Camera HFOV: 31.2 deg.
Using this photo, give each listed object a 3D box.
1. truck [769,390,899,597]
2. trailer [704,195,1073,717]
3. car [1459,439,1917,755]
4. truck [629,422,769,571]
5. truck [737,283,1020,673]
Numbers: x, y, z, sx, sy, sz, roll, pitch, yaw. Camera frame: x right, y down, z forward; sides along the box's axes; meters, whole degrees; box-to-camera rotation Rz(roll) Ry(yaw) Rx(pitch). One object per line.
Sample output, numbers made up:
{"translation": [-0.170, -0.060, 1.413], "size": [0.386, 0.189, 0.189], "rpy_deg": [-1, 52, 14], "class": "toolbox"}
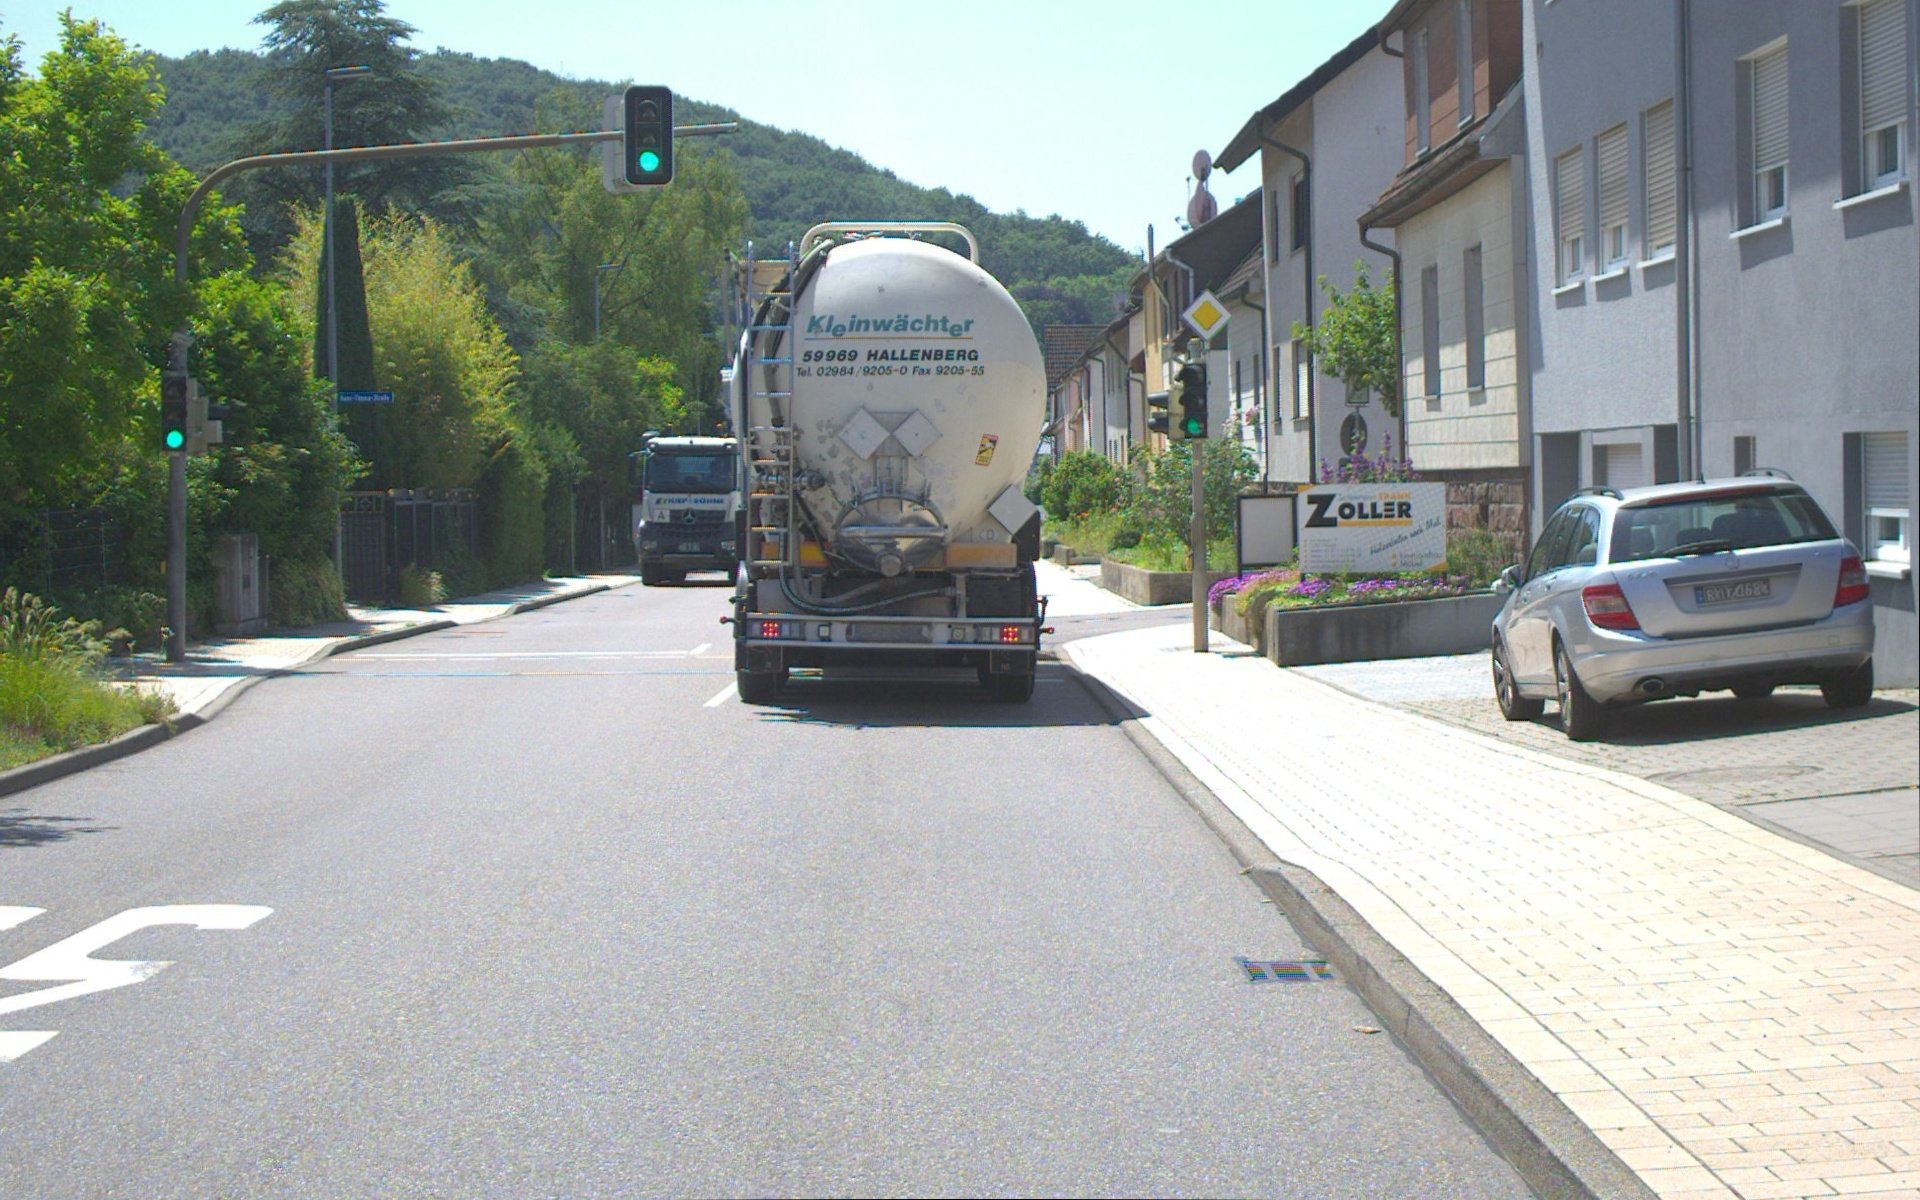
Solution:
{"translation": [-2.937, -2.502, 83.041], "size": [2.846, 4.662, 11.340], "rpy_deg": [0, 1, -1], "class": "truck"}
{"translation": [-0.718, -1.210, 31.606], "size": [2.796, 3.987, 10.325], "rpy_deg": [1, 1, -2], "class": "trailer"}
{"translation": [4.315, -0.064, 21.084], "size": [1.791, 1.536, 4.519], "rpy_deg": [-7, 1, 2], "class": "car"}
{"translation": [-6.193, -2.456, 82.756], "size": [2.728, 3.360, 8.635], "rpy_deg": [1, 1, 0], "class": "truck"}
{"translation": [-0.932, -1.306, 38.074], "size": [2.808, 3.923, 6.100], "rpy_deg": [1, 1, -2], "class": "truck"}
